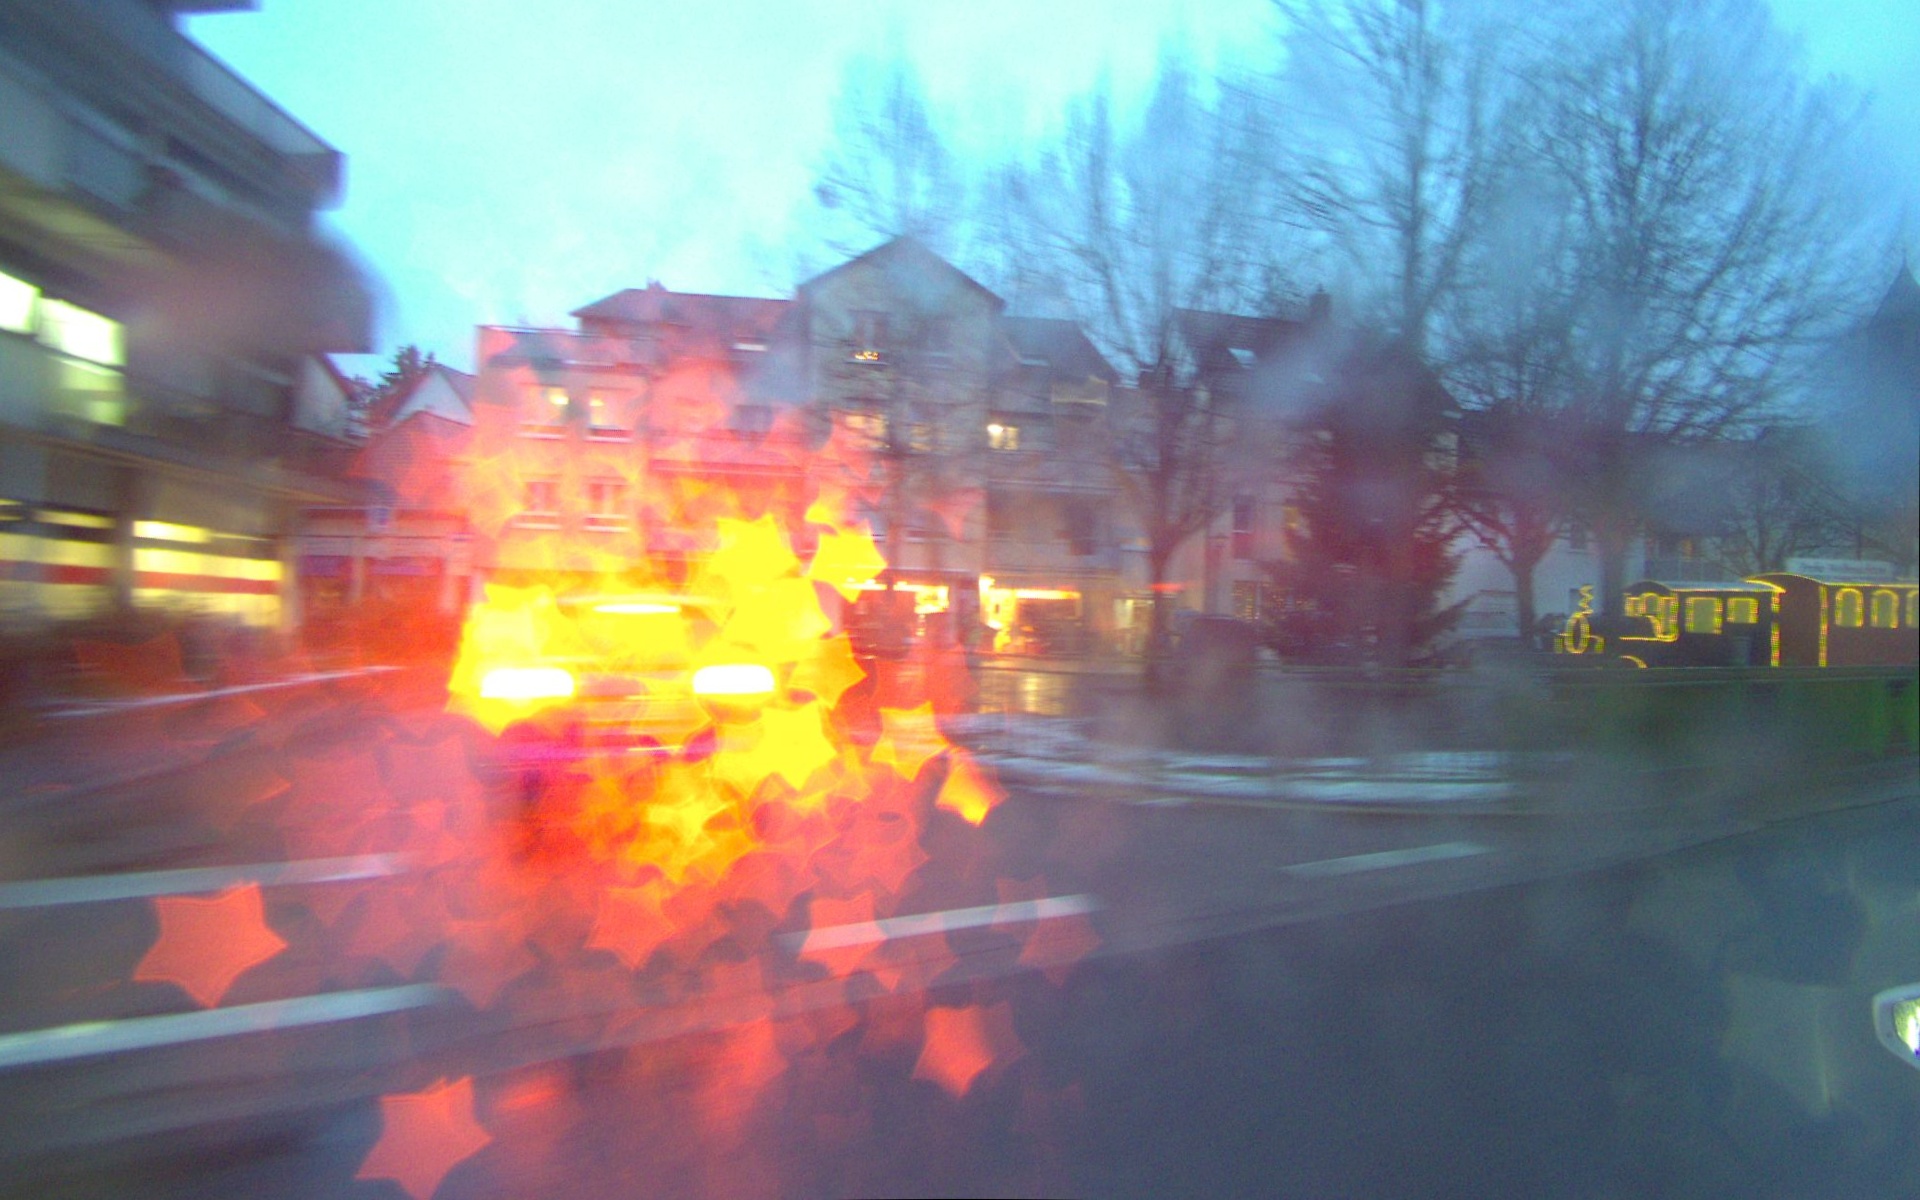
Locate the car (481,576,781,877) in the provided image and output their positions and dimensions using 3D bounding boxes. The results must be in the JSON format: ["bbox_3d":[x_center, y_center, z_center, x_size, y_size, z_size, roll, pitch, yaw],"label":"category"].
[{"bbox_3d":[-2.128,0.655,6.898,1.477,1.527,3.300,1,0,-15],"label":"car"}]

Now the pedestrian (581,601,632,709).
[{"bbox_3d":[-4.569,0.701,13.011,0.558,1.357,0.619,1,0,-15],"label":"pedestrian"}]

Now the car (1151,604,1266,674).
[{"bbox_3d":[5.901,0.872,24.282,1.884,1.528,4.001,1,0,2],"label":"car"}]

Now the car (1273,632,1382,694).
[{"bbox_3d":[9.030,1.511,24.938,1.582,1.346,3.327,1,0,2],"label":"car"}]
